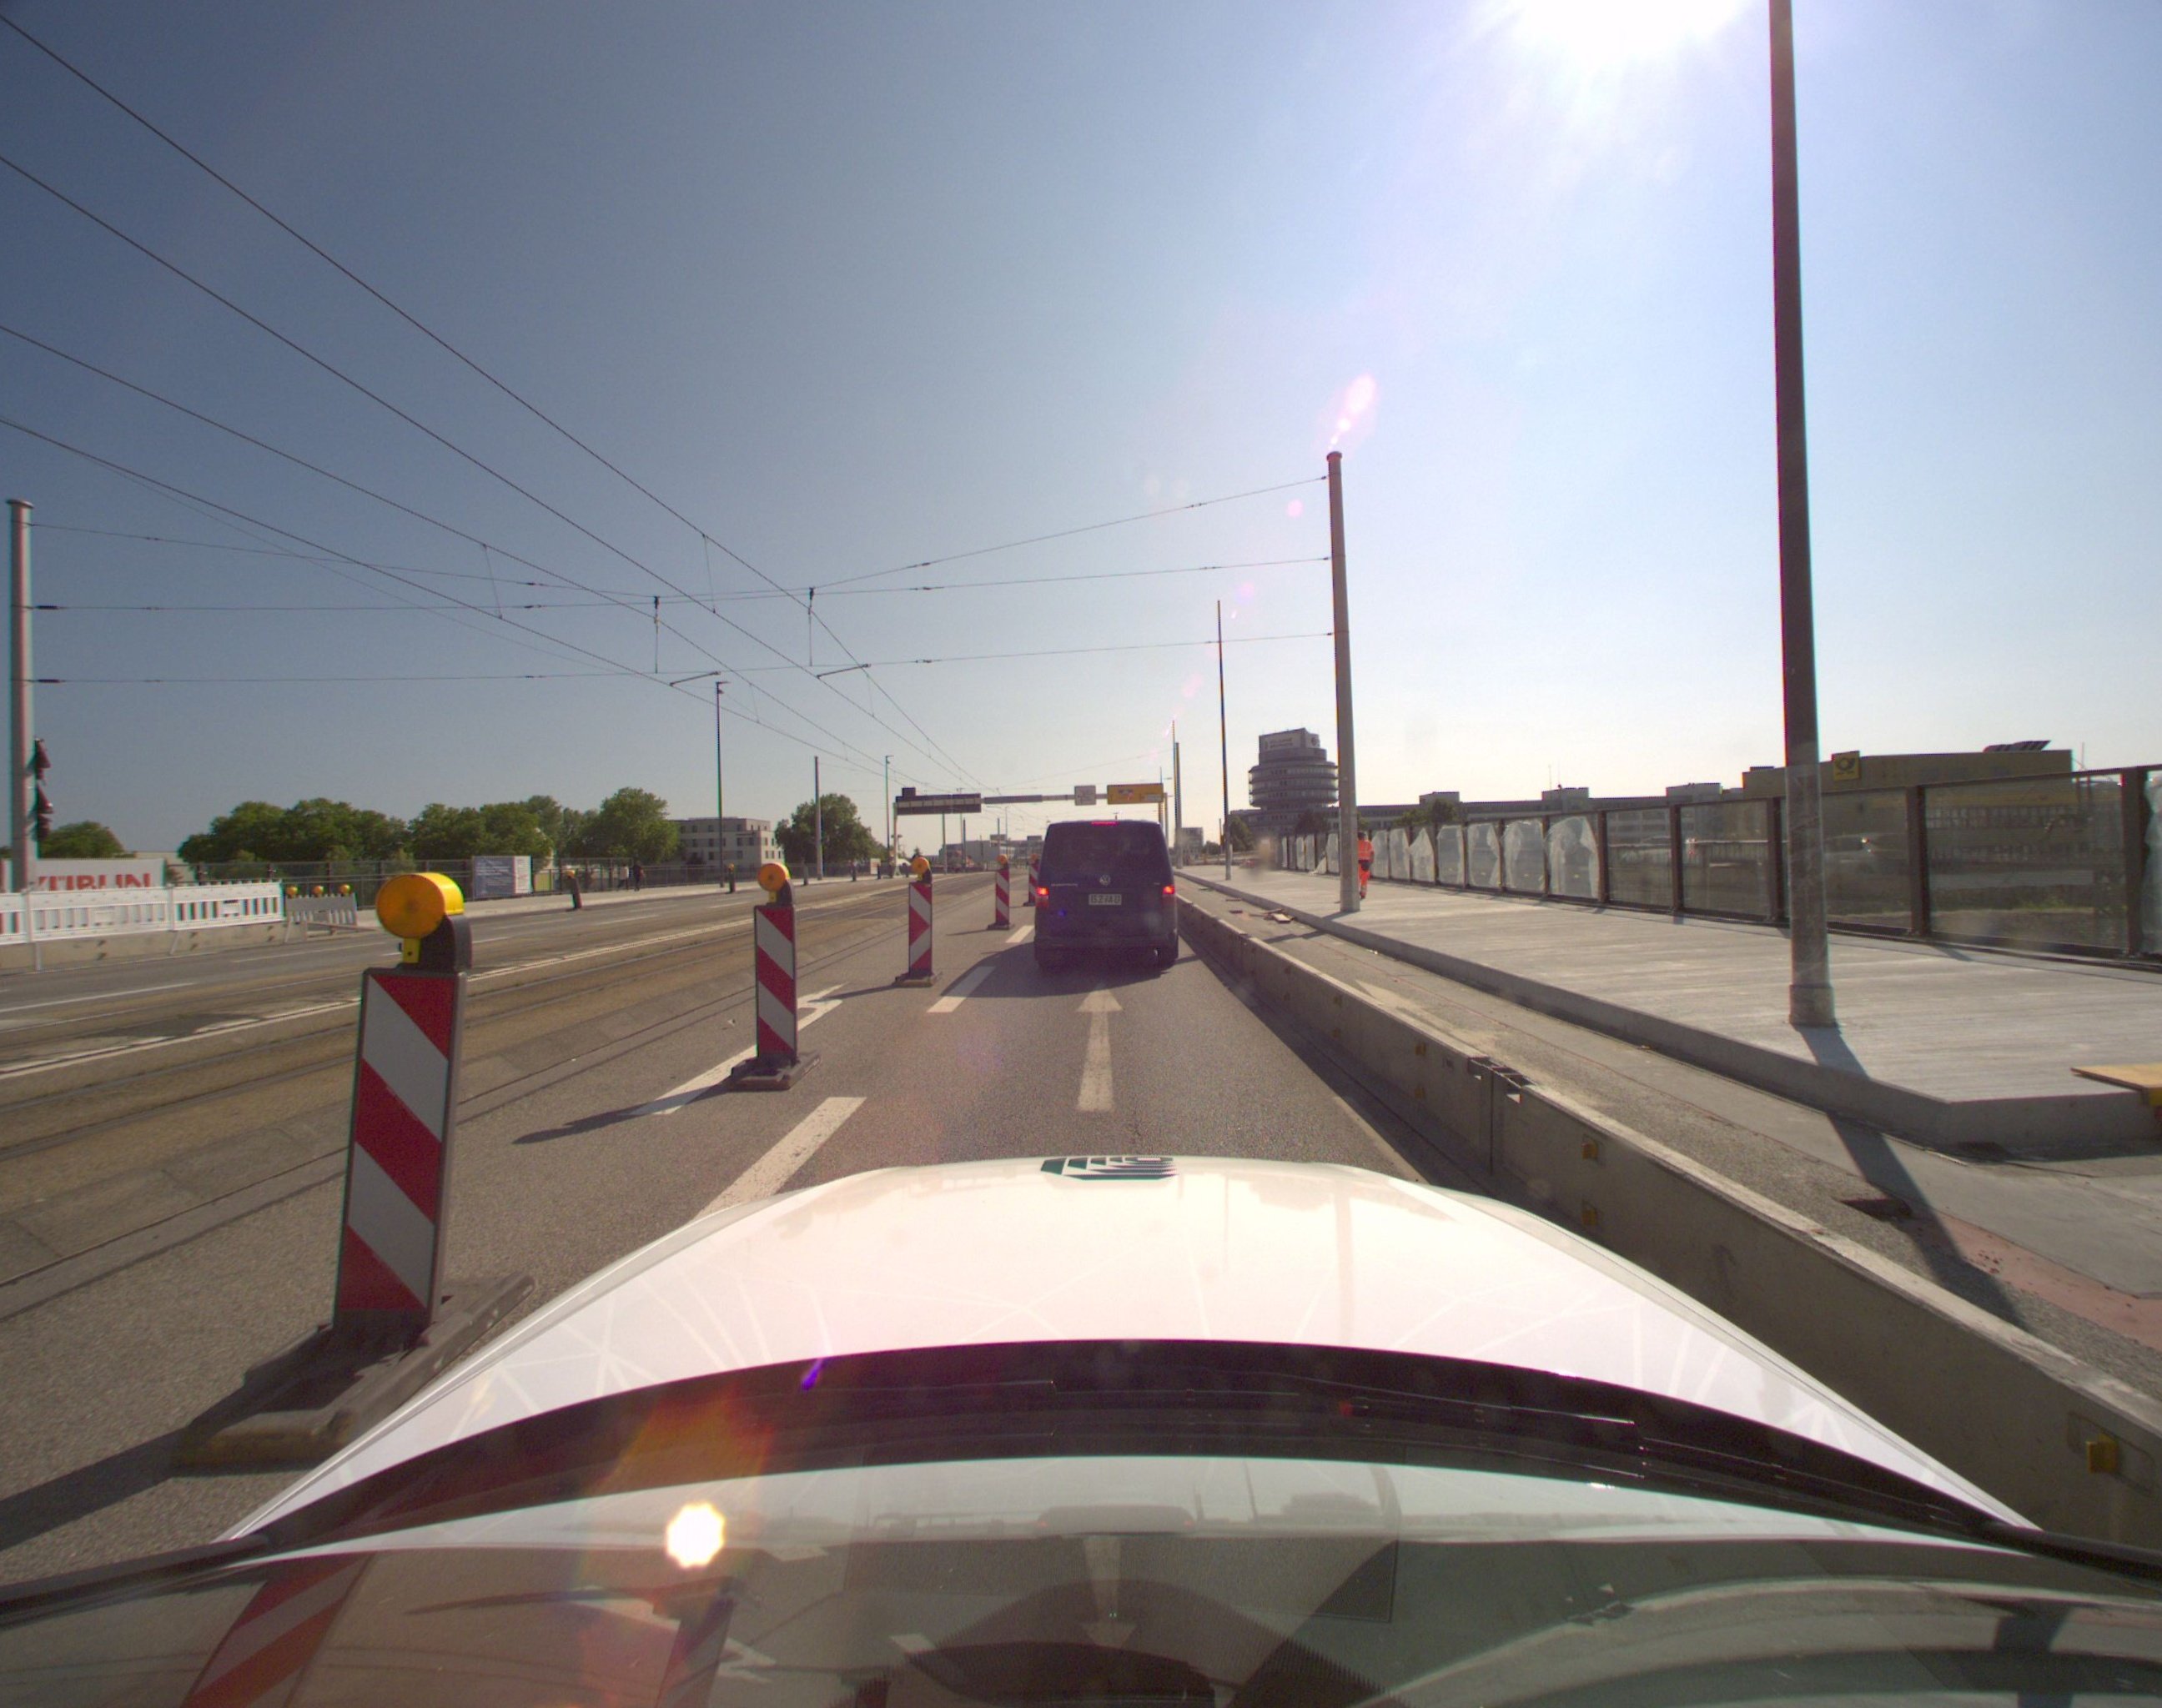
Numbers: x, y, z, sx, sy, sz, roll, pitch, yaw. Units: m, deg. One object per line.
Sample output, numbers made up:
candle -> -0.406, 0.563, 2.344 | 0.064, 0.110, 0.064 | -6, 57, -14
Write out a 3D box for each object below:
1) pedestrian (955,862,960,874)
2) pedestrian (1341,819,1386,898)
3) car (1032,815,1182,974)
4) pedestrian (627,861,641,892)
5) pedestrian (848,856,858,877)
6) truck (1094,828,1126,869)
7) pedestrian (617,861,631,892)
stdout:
pedestrian -> -19.402, 2.195, 127.593 | 0.632, 1.752, 0.752 | -1, 0, 1
pedestrian -> 7.189, 0.106, 20.755 | 0.779, 1.935, 0.800 | -3, -1, 1
car -> 0.297, 0.486, 12.104 | 1.810, 1.905, 4.052 | -2, 0, -1
pedestrian -> -24.340, 1.218, 44.391 | 0.493, 1.694, 0.474 | 0, -1, 1
pedestrian -> -21.137, 1.136, 75.477 | 0.631, 1.893, 0.752 | -1, 0, 1
truck -> 2.447, -0.524, 69.812 | 2.451, 3.134, 11.221 | -2, 1, 2
pedestrian -> -25.020, 1.206, 44.548 | 0.493, 1.694, 0.474 | 0, -1, 1
